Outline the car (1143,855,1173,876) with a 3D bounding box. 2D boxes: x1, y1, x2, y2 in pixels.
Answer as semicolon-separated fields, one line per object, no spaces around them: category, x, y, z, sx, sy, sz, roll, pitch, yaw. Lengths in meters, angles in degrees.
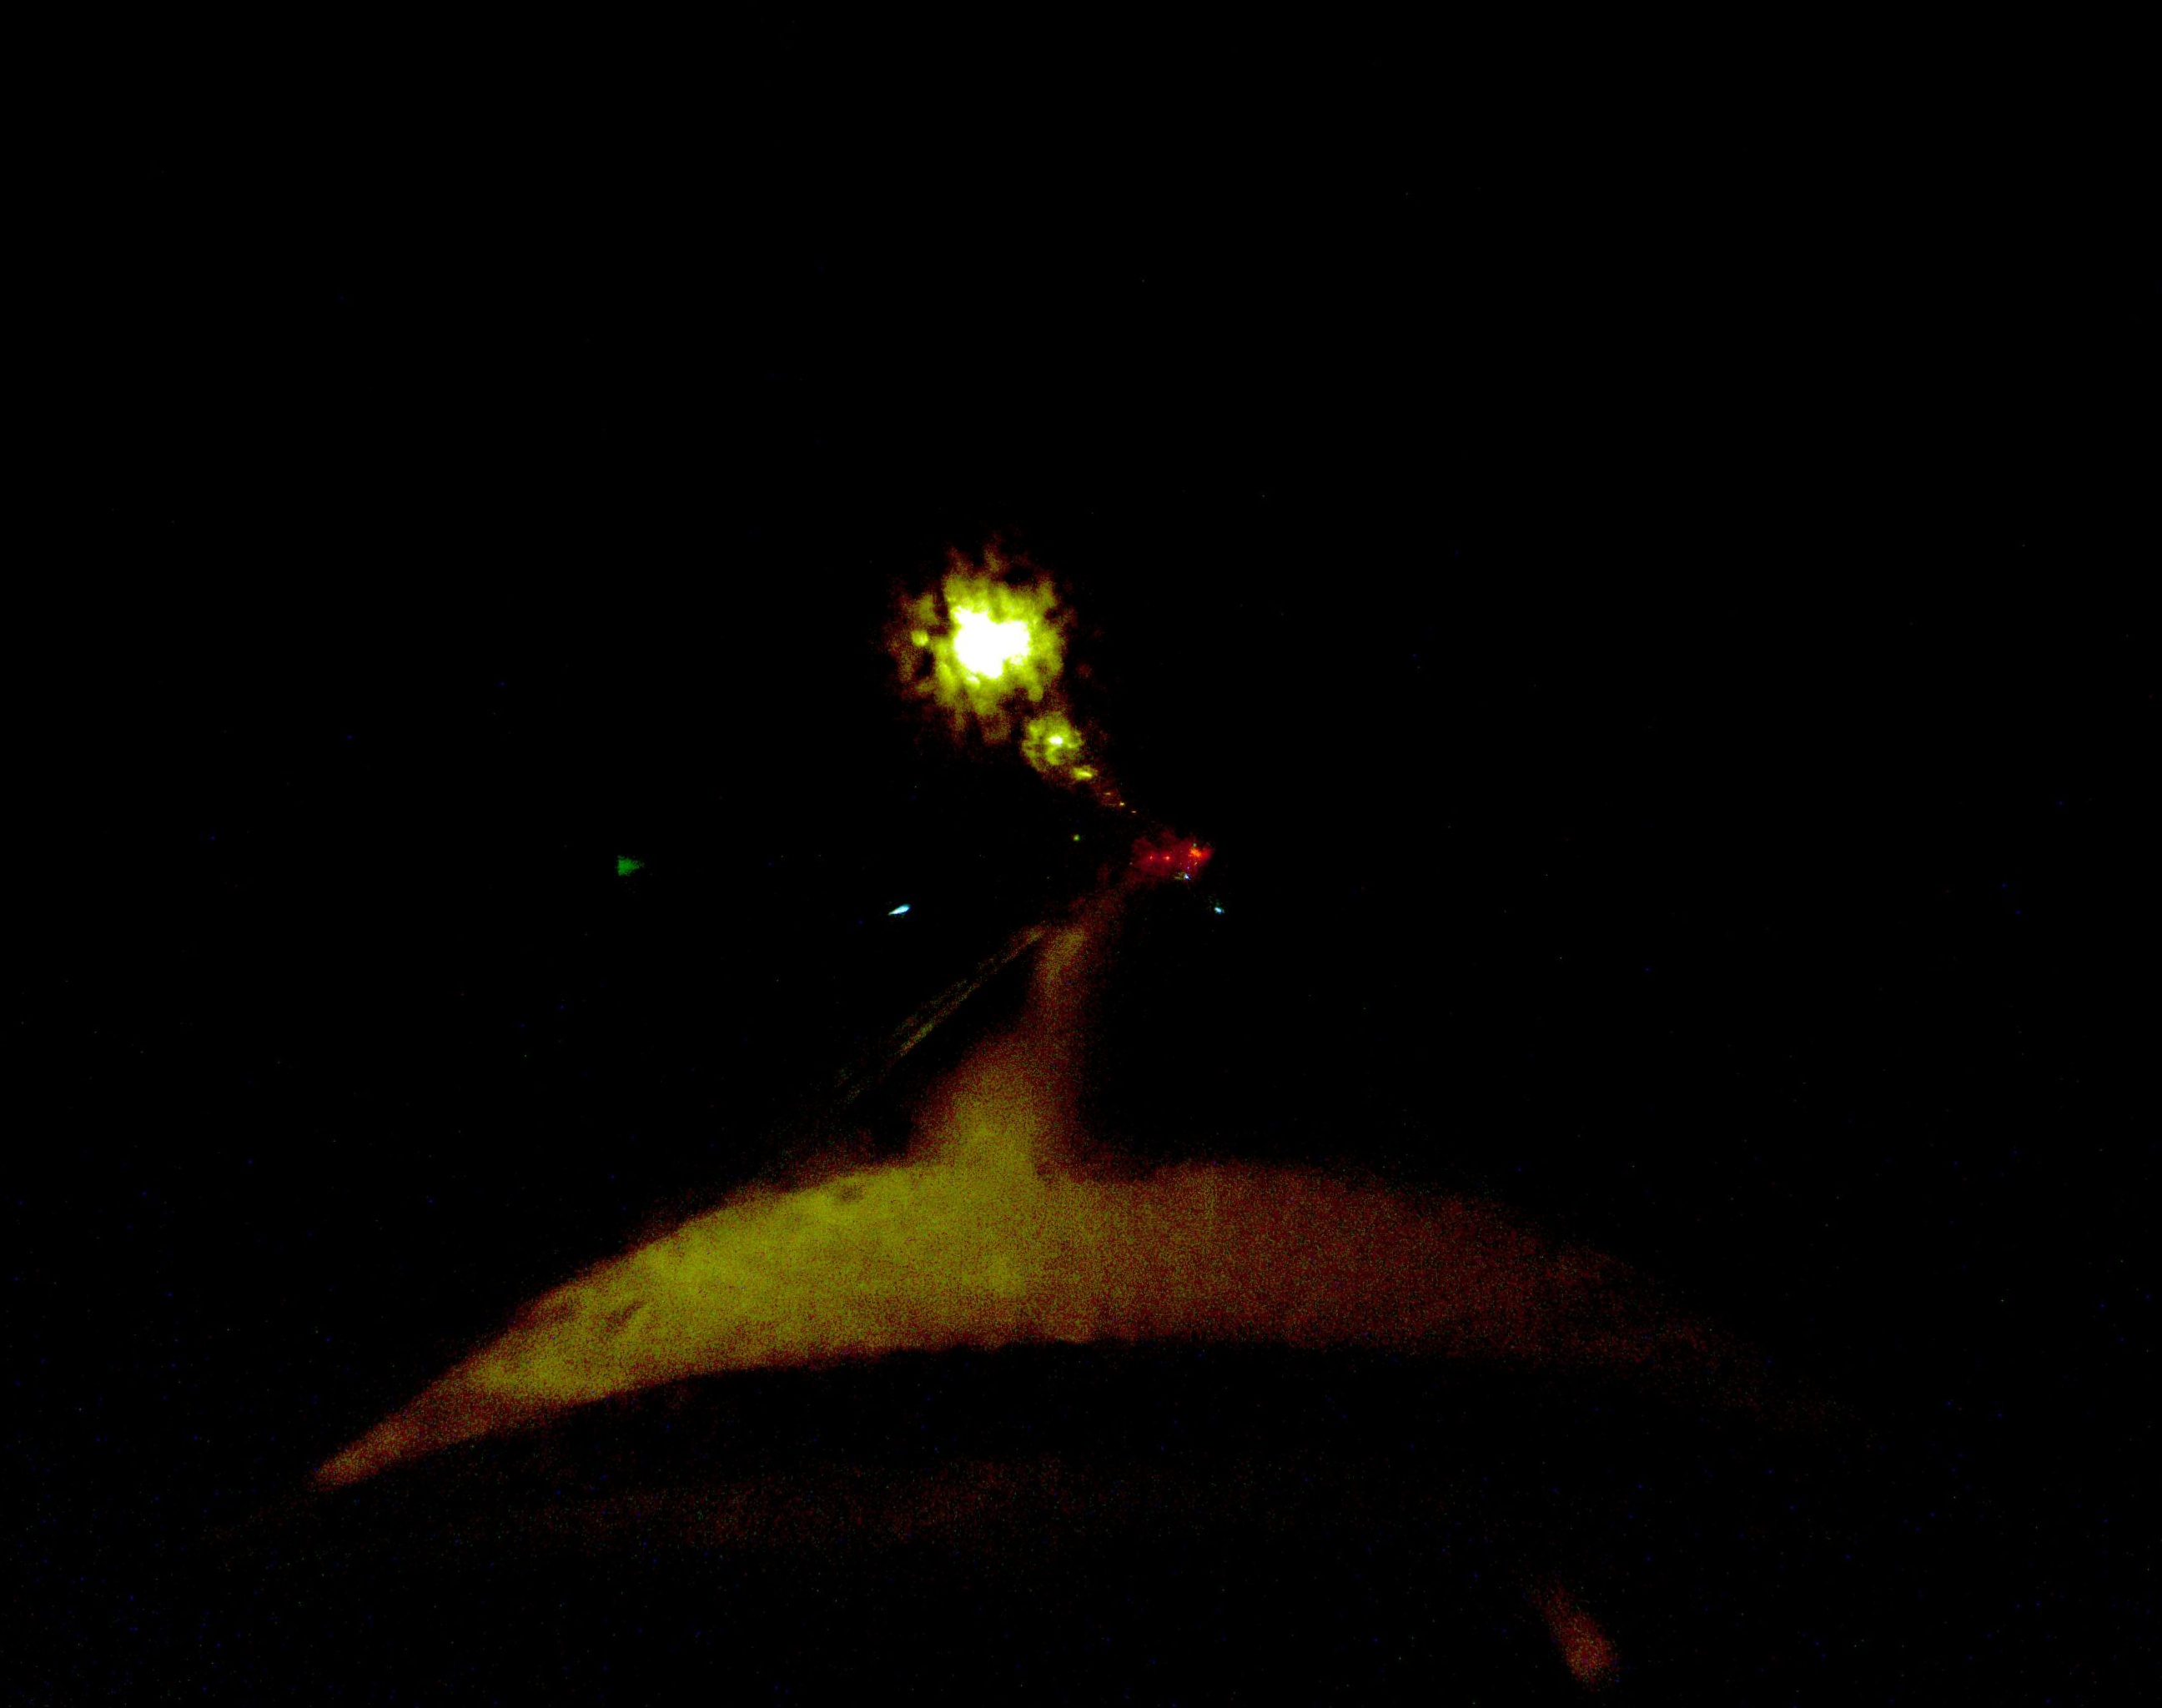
car;6.562;0.945;68.941;2.076;1.662;4.012;-1;0;11
